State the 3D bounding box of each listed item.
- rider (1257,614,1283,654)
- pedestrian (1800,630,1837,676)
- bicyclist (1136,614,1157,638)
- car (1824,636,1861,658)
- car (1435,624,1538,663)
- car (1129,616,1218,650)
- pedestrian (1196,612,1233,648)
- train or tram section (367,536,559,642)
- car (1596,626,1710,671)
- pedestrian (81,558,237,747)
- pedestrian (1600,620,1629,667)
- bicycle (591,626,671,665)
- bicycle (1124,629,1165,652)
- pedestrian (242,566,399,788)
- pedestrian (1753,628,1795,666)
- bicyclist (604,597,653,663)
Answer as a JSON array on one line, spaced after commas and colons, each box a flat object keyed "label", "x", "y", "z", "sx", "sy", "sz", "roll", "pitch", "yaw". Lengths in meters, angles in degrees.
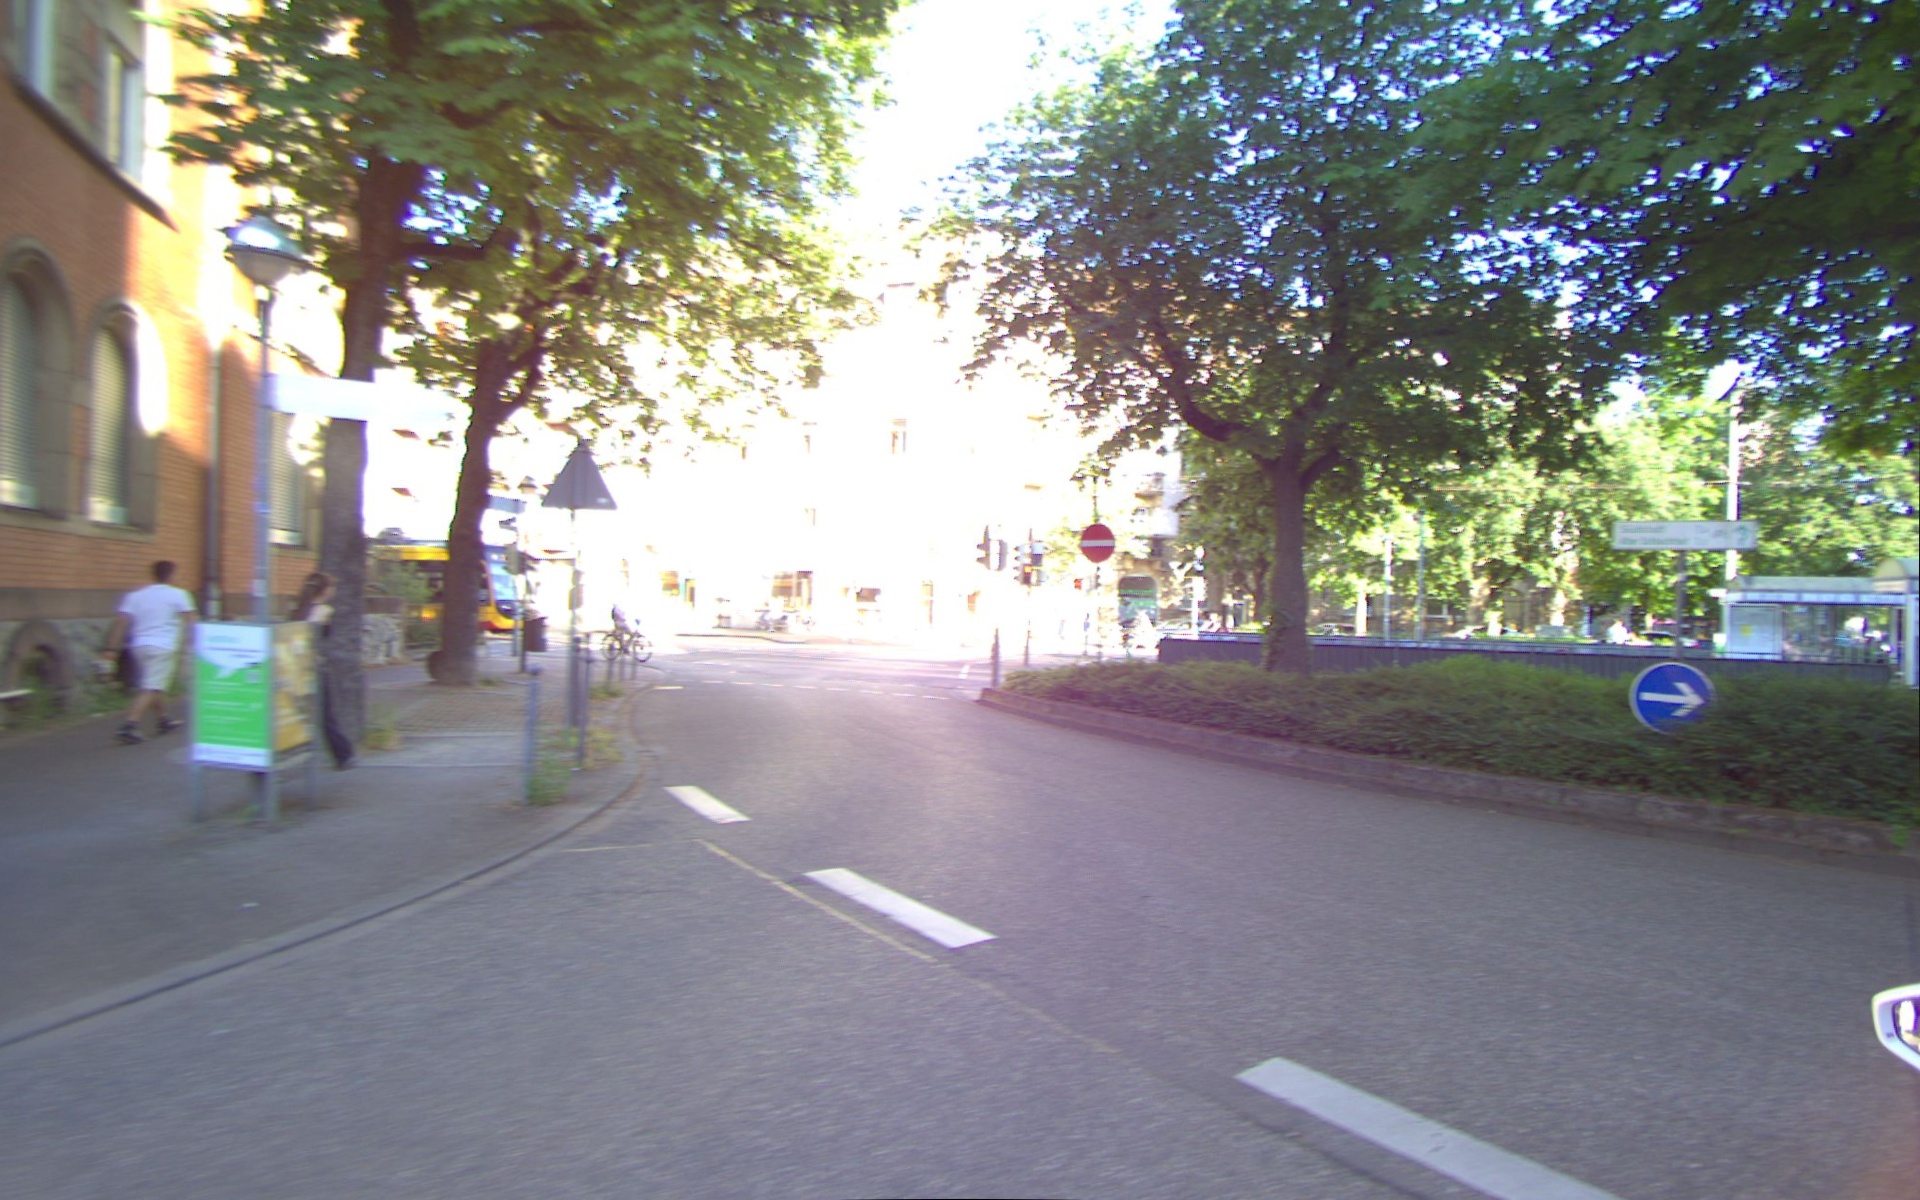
[{"label": "rider", "x": 13.815, "y": 1.514, "z": 44.755, "sx": 0.664, "sy": 1.704, "sz": 0.813, "roll": 2, "pitch": 1, "yaw": -38}, {"label": "pedestrian", "x": 30.815, "y": 1.891, "z": 36.062, "sx": 0.798, "sy": 1.564, "sz": 0.819, "roll": 3, "pitch": 1, "yaw": 31}, {"label": "bicyclist", "x": 8.343, "y": 1.159, "z": 44.902, "sx": 0.667, "sy": 1.068, "sz": 0.609, "roll": 1, "pitch": 0, "yaw": -21}, {"label": "car", "x": 69.500, "y": 3.696, "z": 79.080, "sx": 3.971, "sy": 1.628, "sz": 1.744, "roll": 2, "pitch": -1, "yaw": -42}, {"label": "car", "x": 25.158, "y": 2.062, "z": 48.071, "sx": 3.872, "sy": 1.702, "sz": 1.954, "roll": 1, "pitch": 0, "yaw": -2}, {"label": "car", "x": 10.013, "y": 1.549, "z": 47.105, "sx": 3.653, "sy": 1.458, "sz": 1.891, "roll": 1, "pitch": 0, "yaw": -22}, {"label": "pedestrian", "x": 13.988, "y": 1.646, "z": 55.193, "sx": 1.471, "sy": 1.937, "sz": 1.255, "roll": 2, "pitch": -1, "yaw": -20}, {"label": "train or tram section", "x": -18.611, "y": -0.411, "z": 37.657, "sx": 6.222, "sy": 3.689, "sz": 2.922, "roll": 1, "pitch": 0, "yaw": 20}, {"label": "car", "x": 32.371, "y": 2.236, "z": 47.026, "sx": 3.920, "sy": 1.895, "sz": 2.001, "roll": 1, "pitch": 0, "yaw": 17}, {"label": "pedestrian", "x": -7.527, "y": 0.465, "z": 9.455, "sx": 0.854, "sy": 1.665, "sz": 0.859, "roll": 1, "pitch": 0, "yaw": 28}, {"label": "pedestrian", "x": 24.838, "y": 1.630, "z": 38.120, "sx": 0.690, "sy": 1.717, "sz": 0.671, "roll": 3, "pitch": 1, "yaw": 20}, {"label": "bicycle", "x": -8.899, "y": 1.214, "z": 27.173, "sx": 1.943, "sy": 0.971, "sz": 0.771, "roll": 1, "pitch": 0, "yaw": 18}, {"label": "bicycle", "x": 8.256, "y": 1.803, "z": 44.876, "sx": 1.716, "sy": 0.958, "sz": 0.651, "roll": 1, "pitch": 0, "yaw": -21}, {"label": "pedestrian", "x": -4.992, "y": 0.573, "z": 7.884, "sx": 0.589, "sy": 1.626, "sz": 0.855, "roll": 1, "pitch": 0, "yaw": 9}, {"label": "pedestrian", "x": 35.911, "y": 2.060, "z": 44.347, "sx": 1.043, "sy": 1.652, "sz": 1.004, "roll": 1, "pitch": 0, "yaw": 6}, {"label": "bicyclist", "x": -8.976, "y": 0.793, "z": 27.220, "sx": 1.026, "sy": 1.739, "sz": 0.696, "roll": 1, "pitch": 0, "yaw": 18}]
